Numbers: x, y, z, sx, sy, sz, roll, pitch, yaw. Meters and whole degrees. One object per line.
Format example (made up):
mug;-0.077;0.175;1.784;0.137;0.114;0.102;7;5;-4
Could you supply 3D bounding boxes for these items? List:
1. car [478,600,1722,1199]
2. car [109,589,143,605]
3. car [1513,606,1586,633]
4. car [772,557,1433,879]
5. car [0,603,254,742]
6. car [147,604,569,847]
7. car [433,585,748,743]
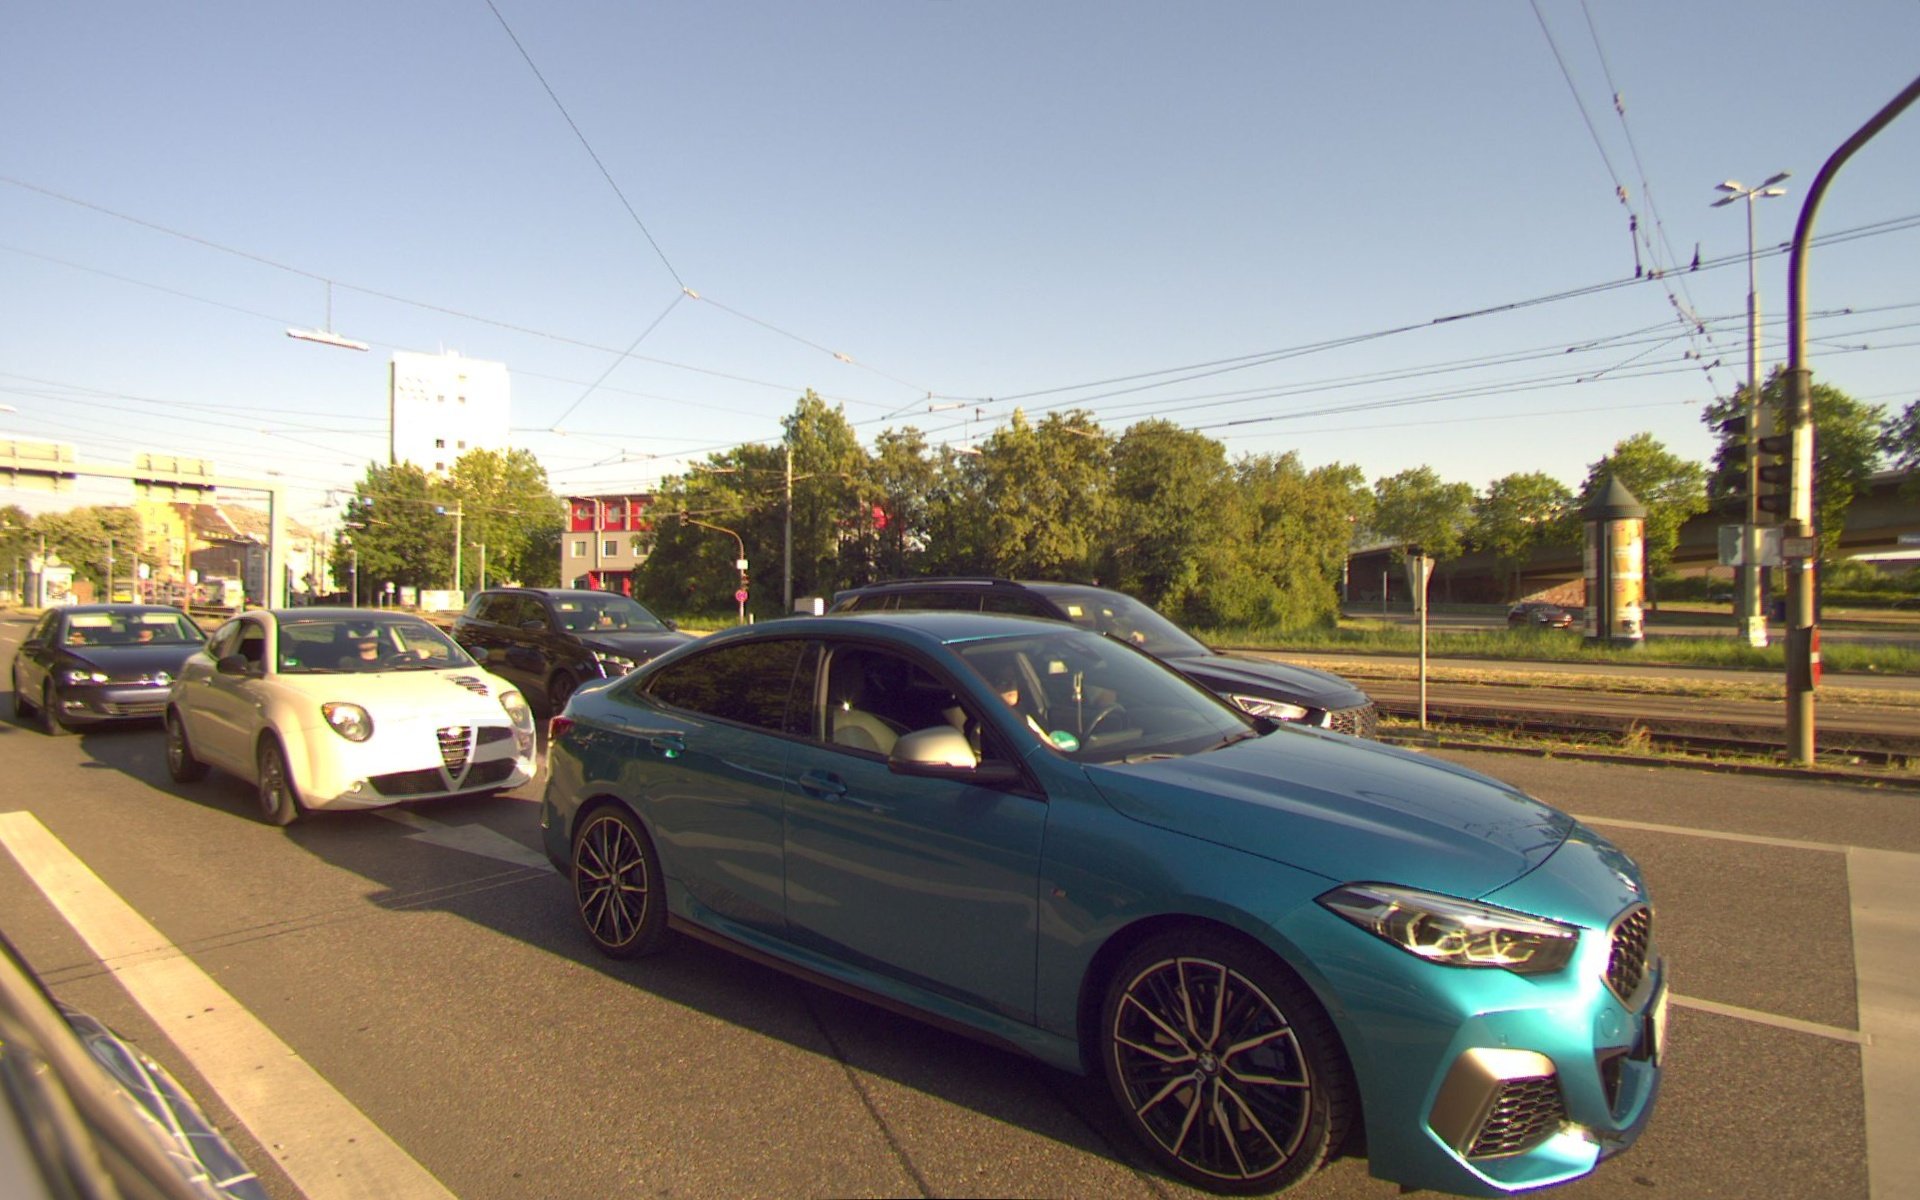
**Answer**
car;0.109;0.723;3.911;4.507;1.428;1.767;0;-1;39
car;-107.251;-0.345;130.193;1.966;2.029;4.012;0;0;-17
car;33.823;1.105;58.221;1.973;1.497;3.997;0;-1;2
car;0.821;0.630;7.546;4.598;1.694;1.896;0;-1;40
car;-10.305;0.760;12.396;3.921;1.441;1.759;0;-1;40
car;-4.852;0.763;7.940;3.921;1.441;1.644;0;-1;40
car;-4.841;0.685;12.888;4.602;1.661;1.894;0;-1;43
